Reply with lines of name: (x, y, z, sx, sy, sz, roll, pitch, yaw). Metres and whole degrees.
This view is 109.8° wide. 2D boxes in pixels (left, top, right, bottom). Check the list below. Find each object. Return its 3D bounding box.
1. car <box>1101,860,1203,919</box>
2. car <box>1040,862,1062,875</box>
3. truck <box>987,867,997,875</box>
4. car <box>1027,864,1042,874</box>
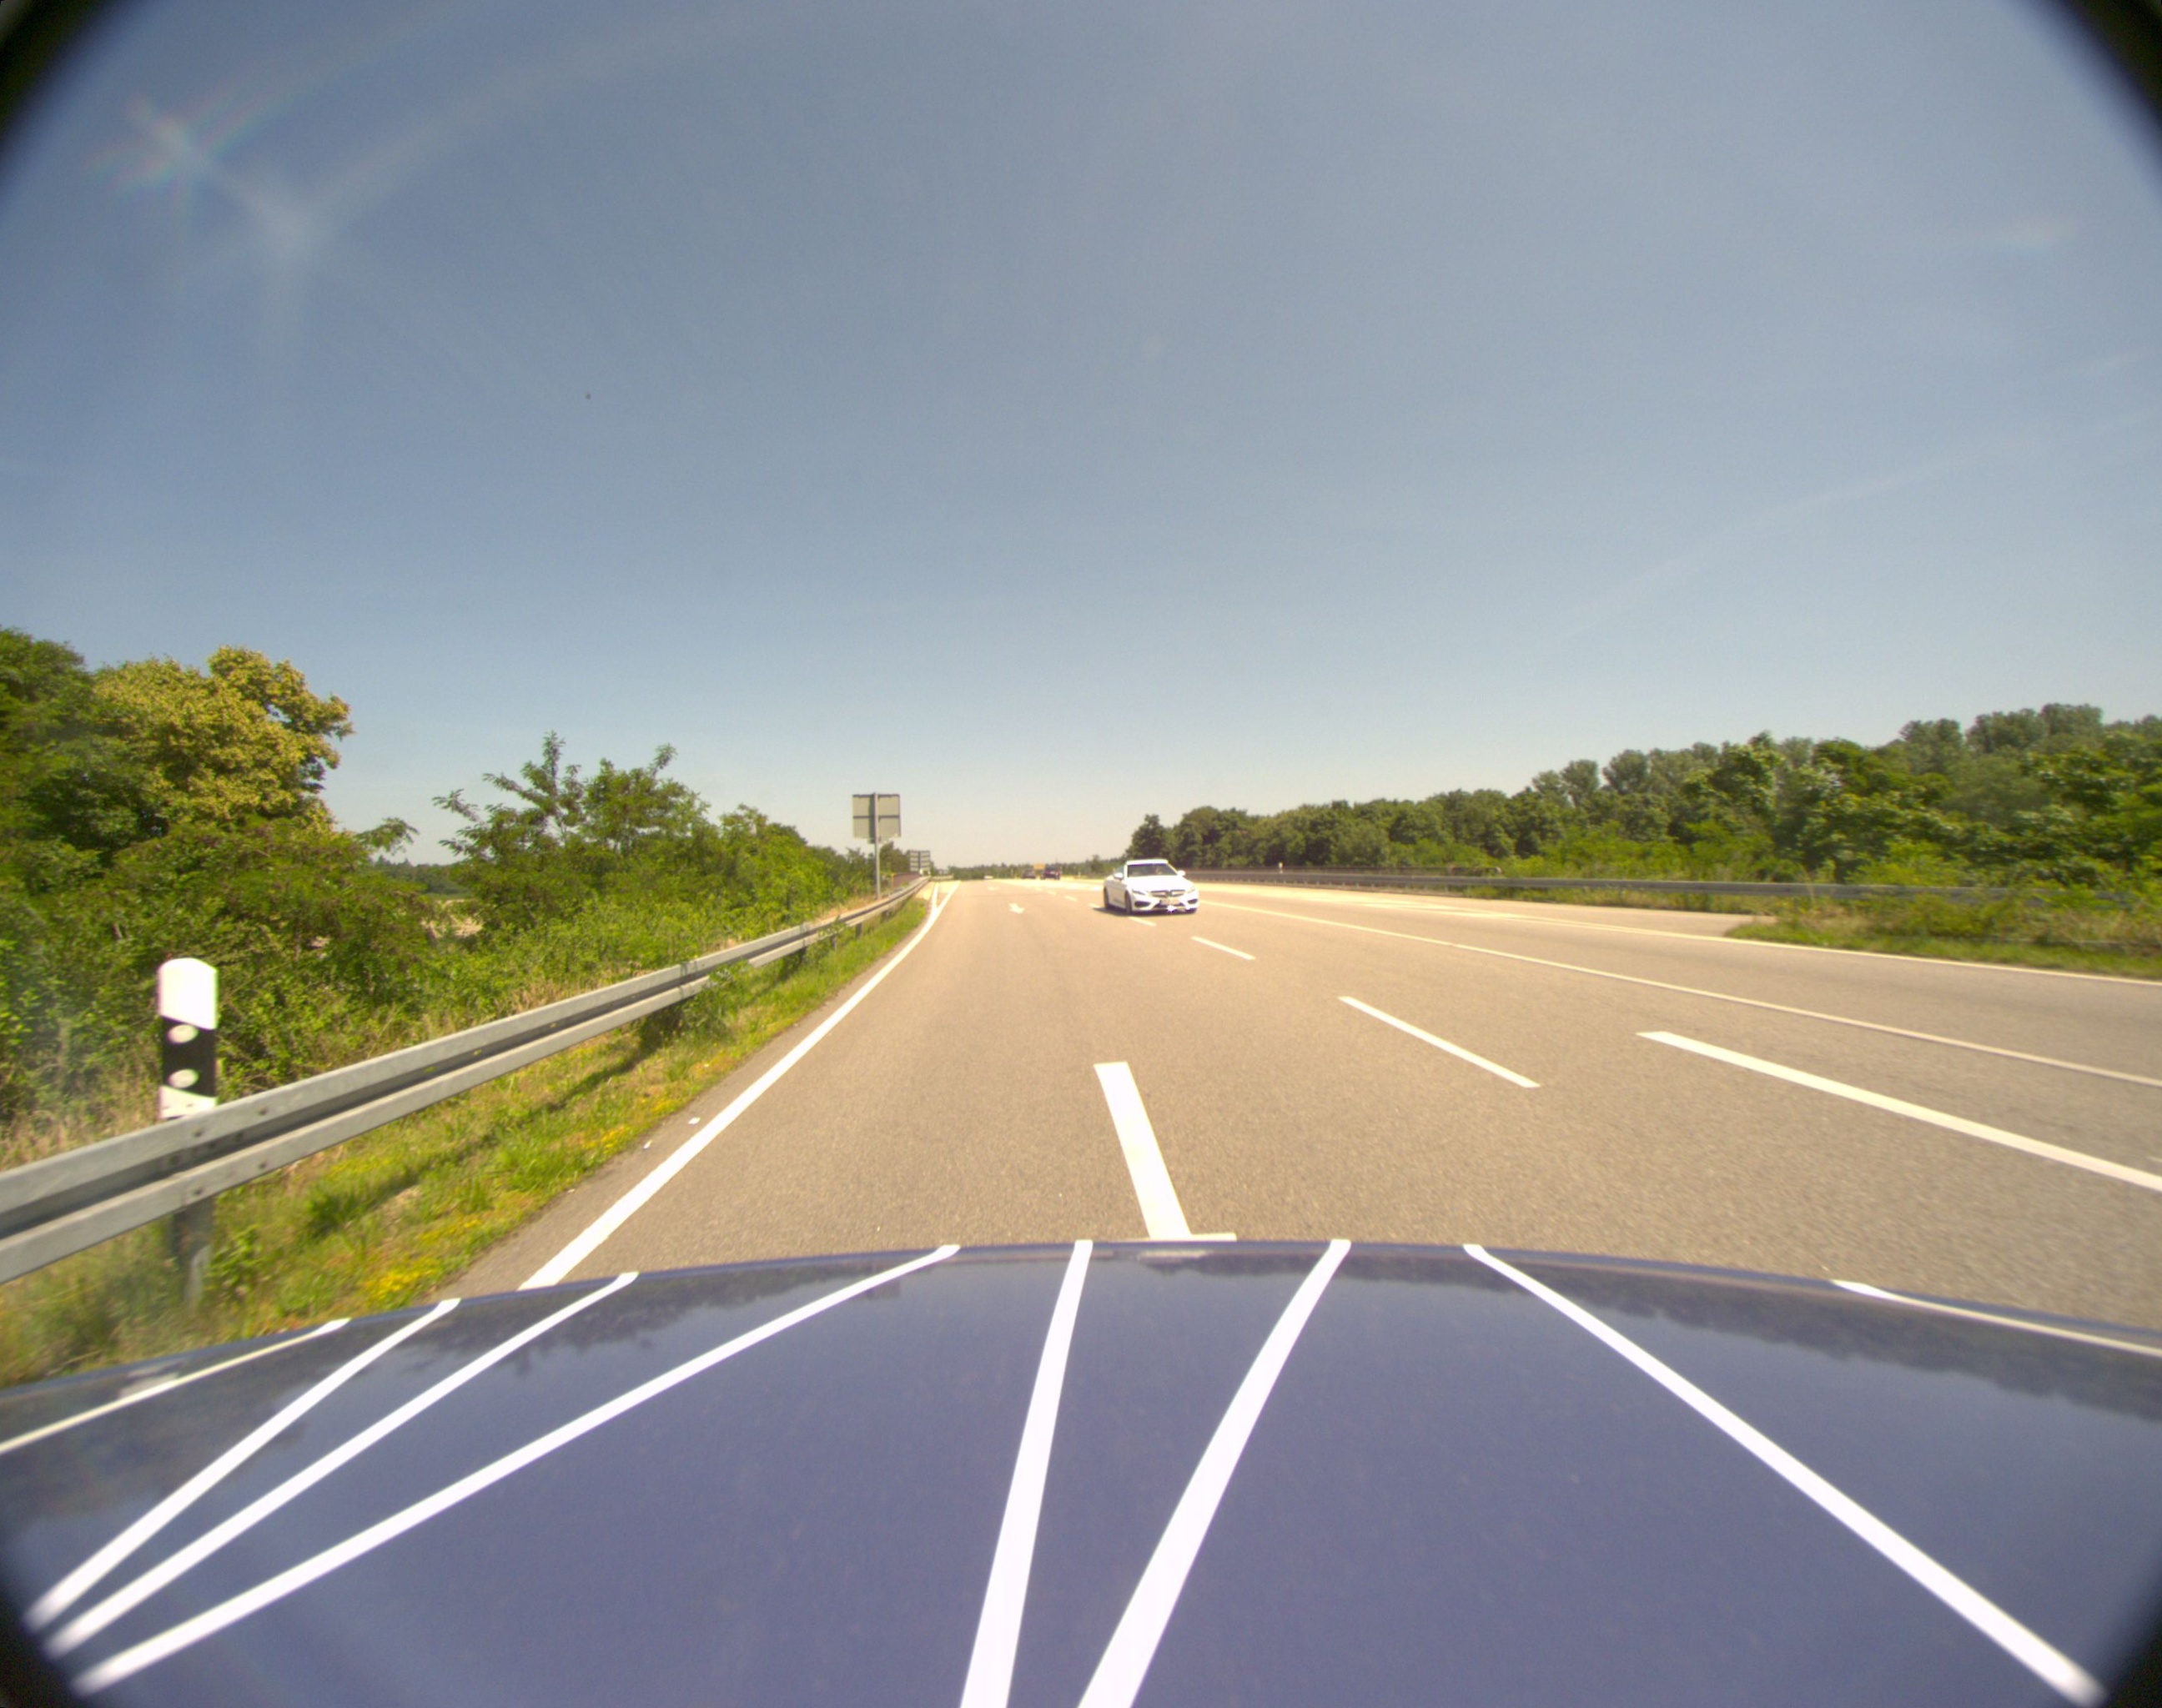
car: (1.840, 0.919, 21.052, 1.814, 1.407, 4.107, -2, -1, -9)
car: (-3.201, 1.541, 79.988, 1.741, 1.392, 4.377, 0, -1, -11)
truck: (-23.706, 4.494, 202.811, 2.214, 2.229, 5.369, -1, -1, -10)
car: (-6.829, 2.212, 110.497, 1.729, 1.444, 4.791, 0, -1, -8)
